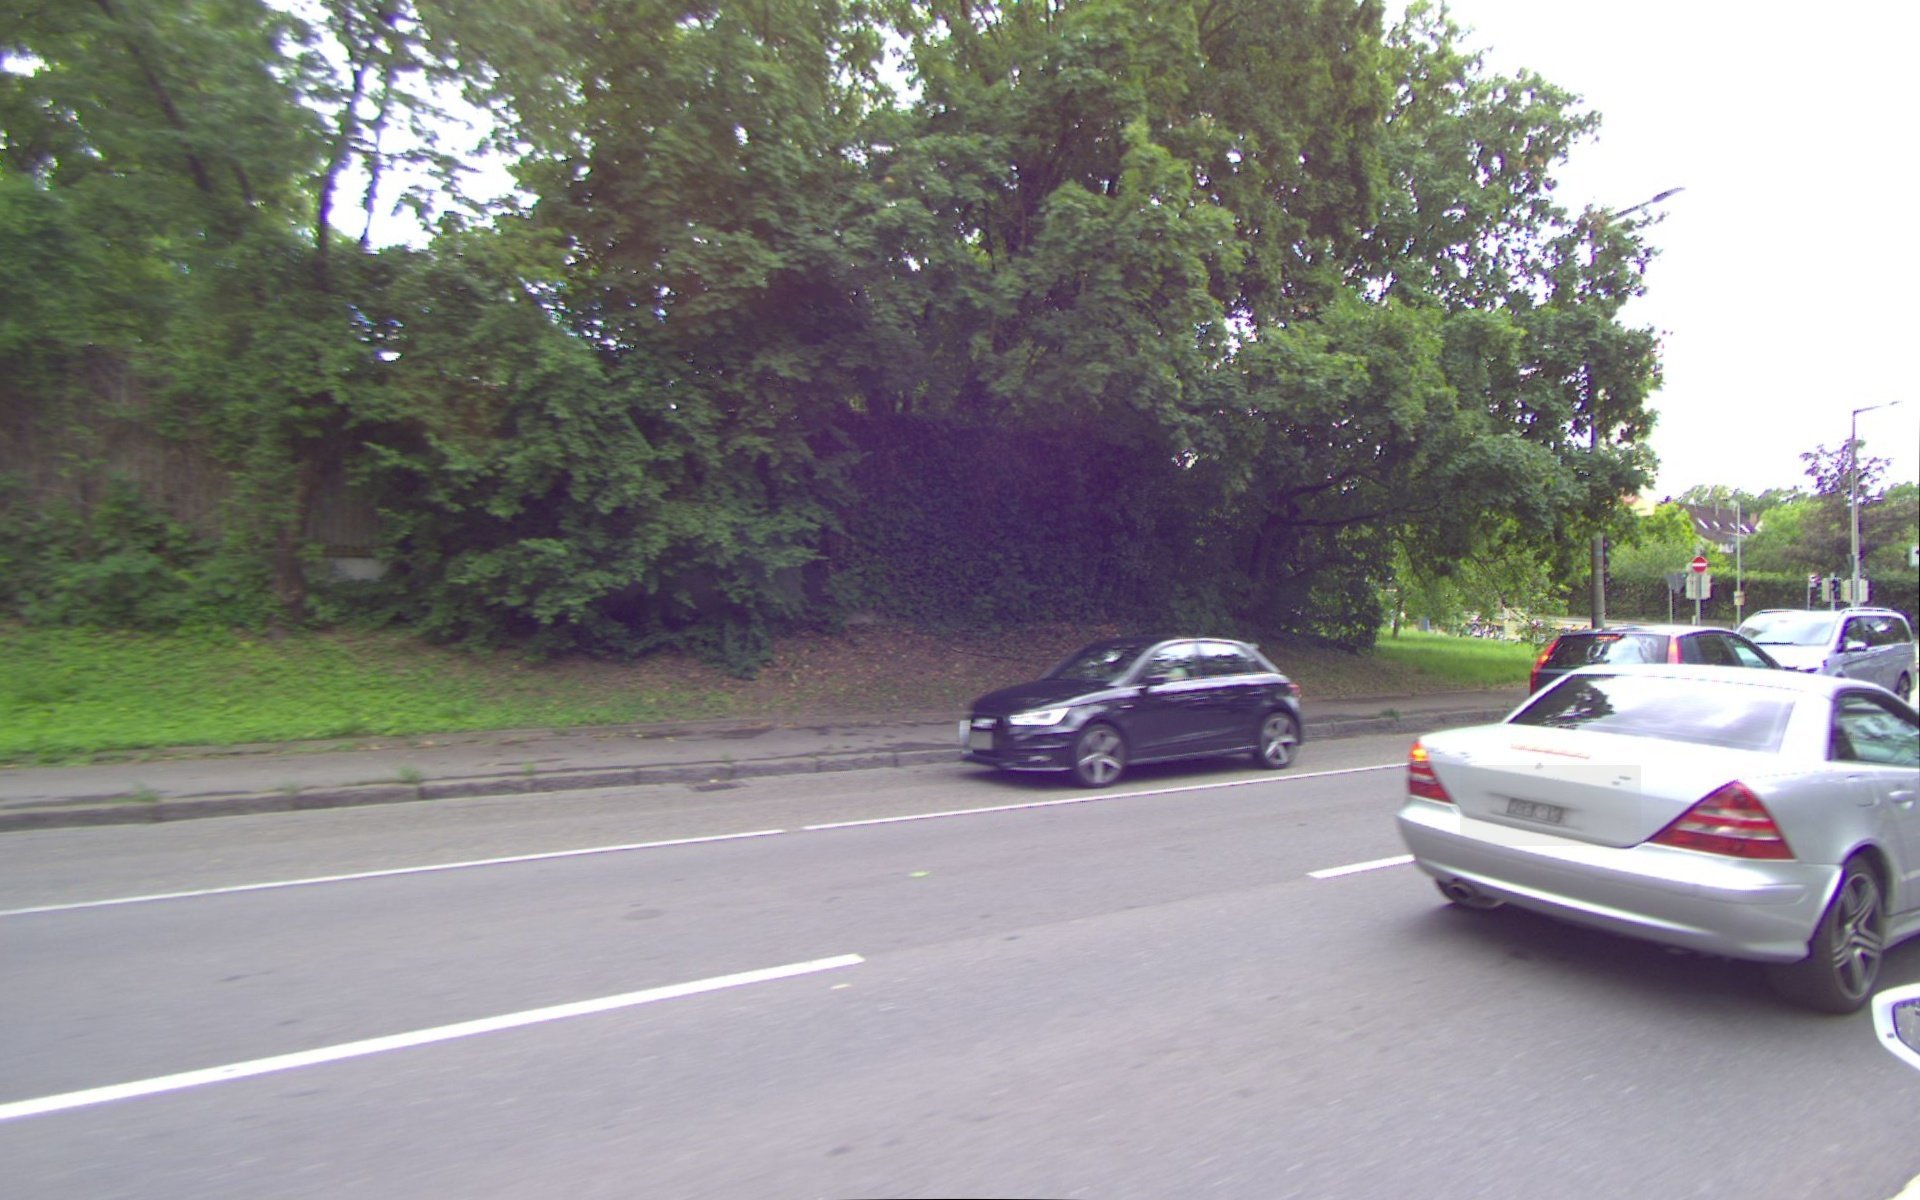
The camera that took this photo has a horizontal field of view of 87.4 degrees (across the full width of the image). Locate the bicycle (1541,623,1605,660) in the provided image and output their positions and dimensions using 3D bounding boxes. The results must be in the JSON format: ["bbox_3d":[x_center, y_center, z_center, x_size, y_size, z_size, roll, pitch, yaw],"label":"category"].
[{"bbox_3d":[22.519,1.526,36.930,1.896,1.269,0.546,2,1,7],"label":"bicycle"}]

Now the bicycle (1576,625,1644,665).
[{"bbox_3d":[22.378,1.531,34.607,1.896,1.269,0.546,2,1,7],"label":"bicycle"}]

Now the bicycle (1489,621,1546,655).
[{"bbox_3d":[22.245,1.502,40.105,1.896,1.269,0.546,2,1,3],"label":"bicycle"}]

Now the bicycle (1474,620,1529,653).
[{"bbox_3d":[22.117,1.494,41.042,1.896,1.269,0.546,2,1,3],"label":"bicycle"}]

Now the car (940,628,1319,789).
[{"bbox_3d":[1.826,1.035,10.535,3.790,1.413,1.622,1,-4,-32],"label":"car"}]

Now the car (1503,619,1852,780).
[{"bbox_3d":[7.848,0.989,10.927,3.881,1.487,1.585,1,-2,-29],"label":"car"}]

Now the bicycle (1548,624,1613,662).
[{"bbox_3d":[22.261,1.520,36.053,1.896,1.269,0.546,2,1,7],"label":"bicycle"}]

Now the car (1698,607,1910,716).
[{"bbox_3d":[16.011,1.117,19.014,4.359,1.855,1.782,1,-2,-32],"label":"car"}]

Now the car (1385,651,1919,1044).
[{"bbox_3d":[4.052,0.938,5.117,3.778,1.284,1.547,2,-1,-31],"label":"car"}]

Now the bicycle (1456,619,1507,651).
[{"bbox_3d":[21.870,1.480,42.153,1.900,1.269,0.545,2,1,-8],"label":"bicycle"}]

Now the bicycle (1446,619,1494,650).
[{"bbox_3d":[21.764,1.473,42.861,1.902,1.269,0.544,2,1,-14],"label":"bicycle"}]

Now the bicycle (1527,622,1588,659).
[{"bbox_3d":[22.509,1.521,37.859,1.896,1.269,0.546,2,1,7],"label":"bicycle"}]

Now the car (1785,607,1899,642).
[{"bbox_3d":[49.126,1.335,56.019,1.929,1.836,4.404,1,0,-32],"label":"car"}]

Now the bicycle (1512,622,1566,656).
[{"bbox_3d":[22.390,1.513,38.845,1.902,1.269,0.544,2,1,-14],"label":"bicycle"}]

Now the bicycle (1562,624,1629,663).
[{"bbox_3d":[22.315,1.526,35.310,1.896,1.269,0.546,2,1,7],"label":"bicycle"}]
